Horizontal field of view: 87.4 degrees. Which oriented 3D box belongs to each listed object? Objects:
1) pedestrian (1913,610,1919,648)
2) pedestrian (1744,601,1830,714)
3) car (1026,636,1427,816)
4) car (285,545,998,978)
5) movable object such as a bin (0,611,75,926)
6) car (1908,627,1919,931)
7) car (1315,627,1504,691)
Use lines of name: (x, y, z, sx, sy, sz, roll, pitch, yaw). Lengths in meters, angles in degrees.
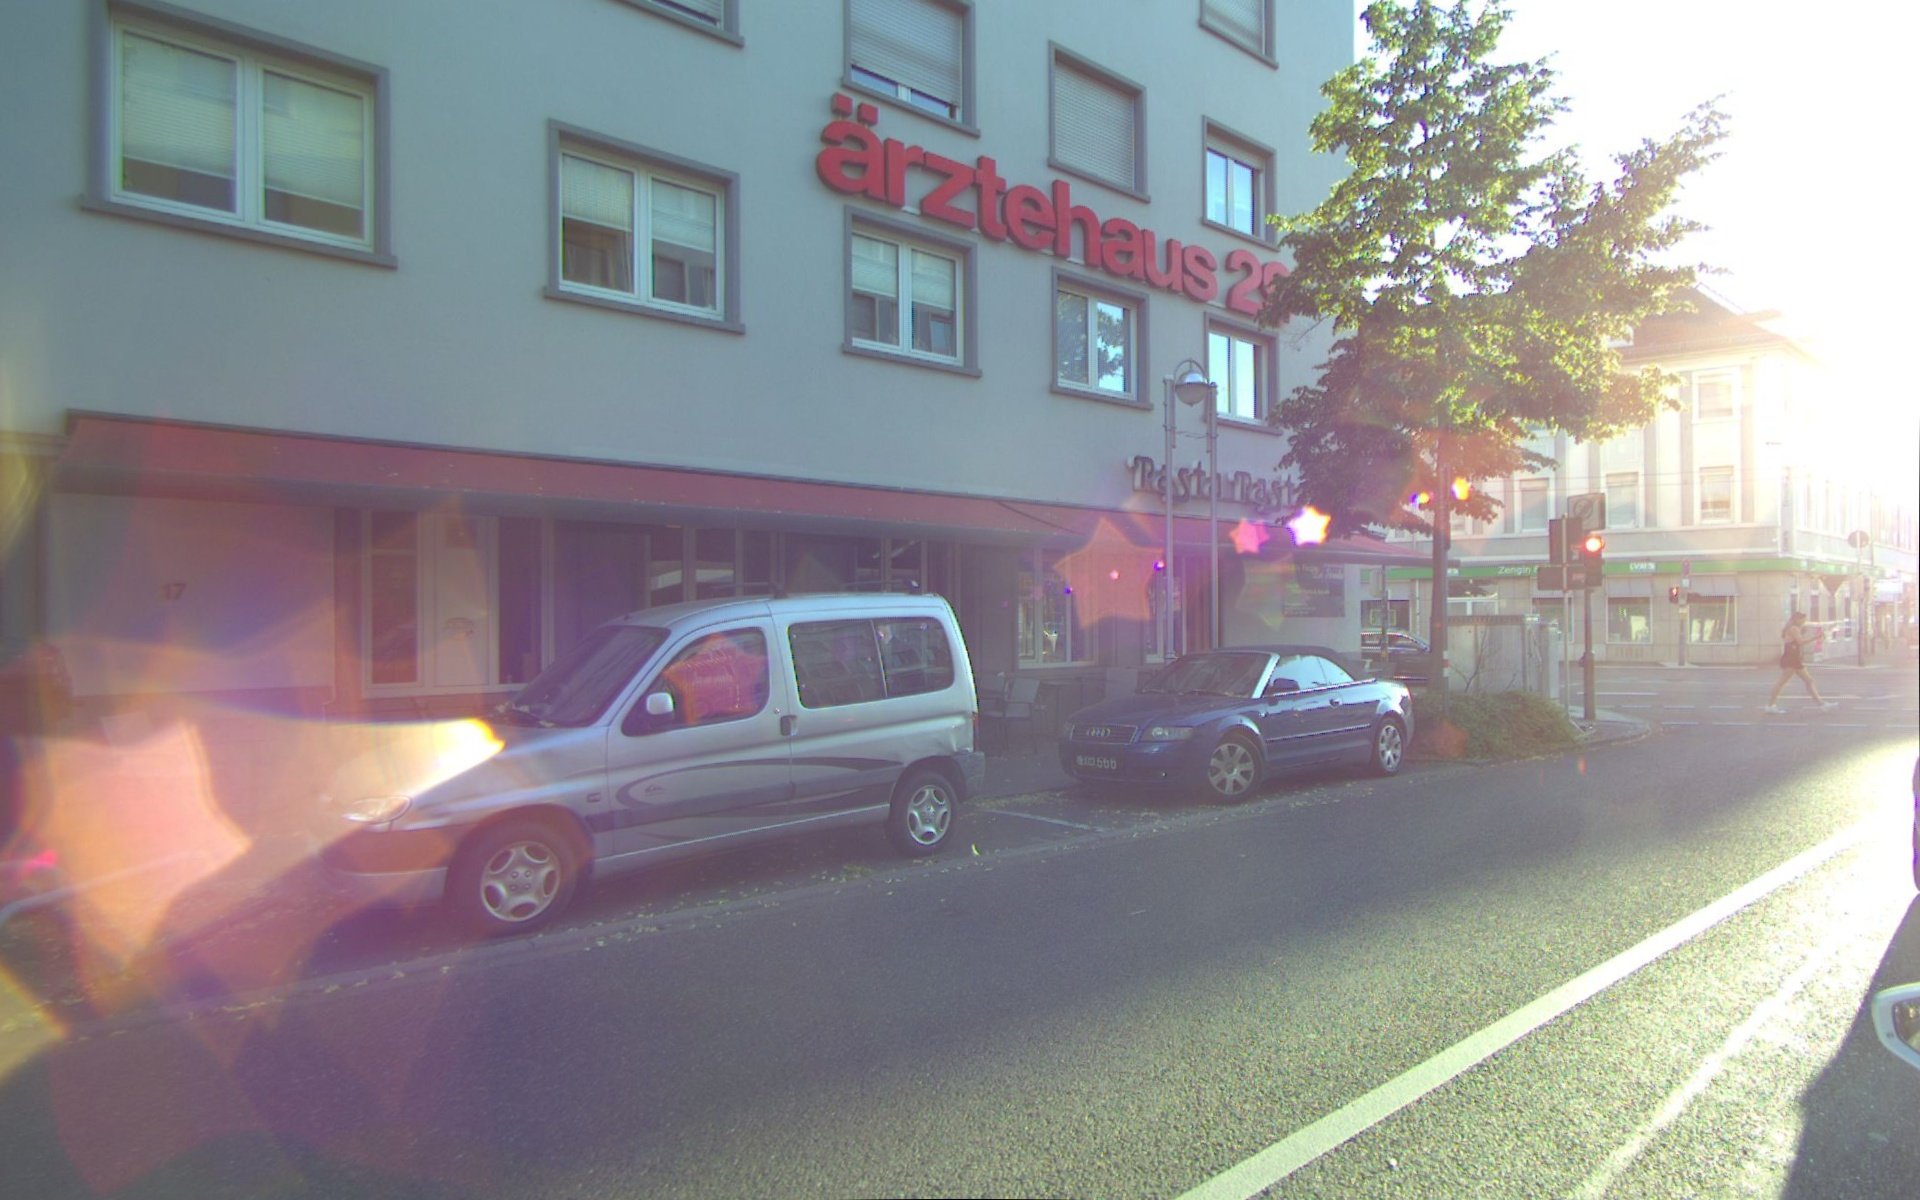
pedestrian: (48.291, 1.468, 50.373, 0.626, 1.901, 0.638, 1, 0, -38)
pedestrian: (14.229, 0.990, 17.311, 0.987, 1.885, 0.638, -3, -2, 32)
car: (2.811, 1.108, 10.107, 4.243, 1.434, 1.710, 1, -4, -39)
car: (-1.793, 0.791, 6.415, 4.022, 1.912, 1.655, 1, -4, -41)
movable object such as a bin: (-5.548, 0.890, 5.374, 1.199, 1.641, 0.773, 1, 1, -42)
car: (6.713, 0.891, 5.486, 4.188, 1.447, 1.723, 1, -1, -39)
car: (11.653, 1.478, 26.132, 4.339, 1.493, 1.815, -1, -1, 28)
